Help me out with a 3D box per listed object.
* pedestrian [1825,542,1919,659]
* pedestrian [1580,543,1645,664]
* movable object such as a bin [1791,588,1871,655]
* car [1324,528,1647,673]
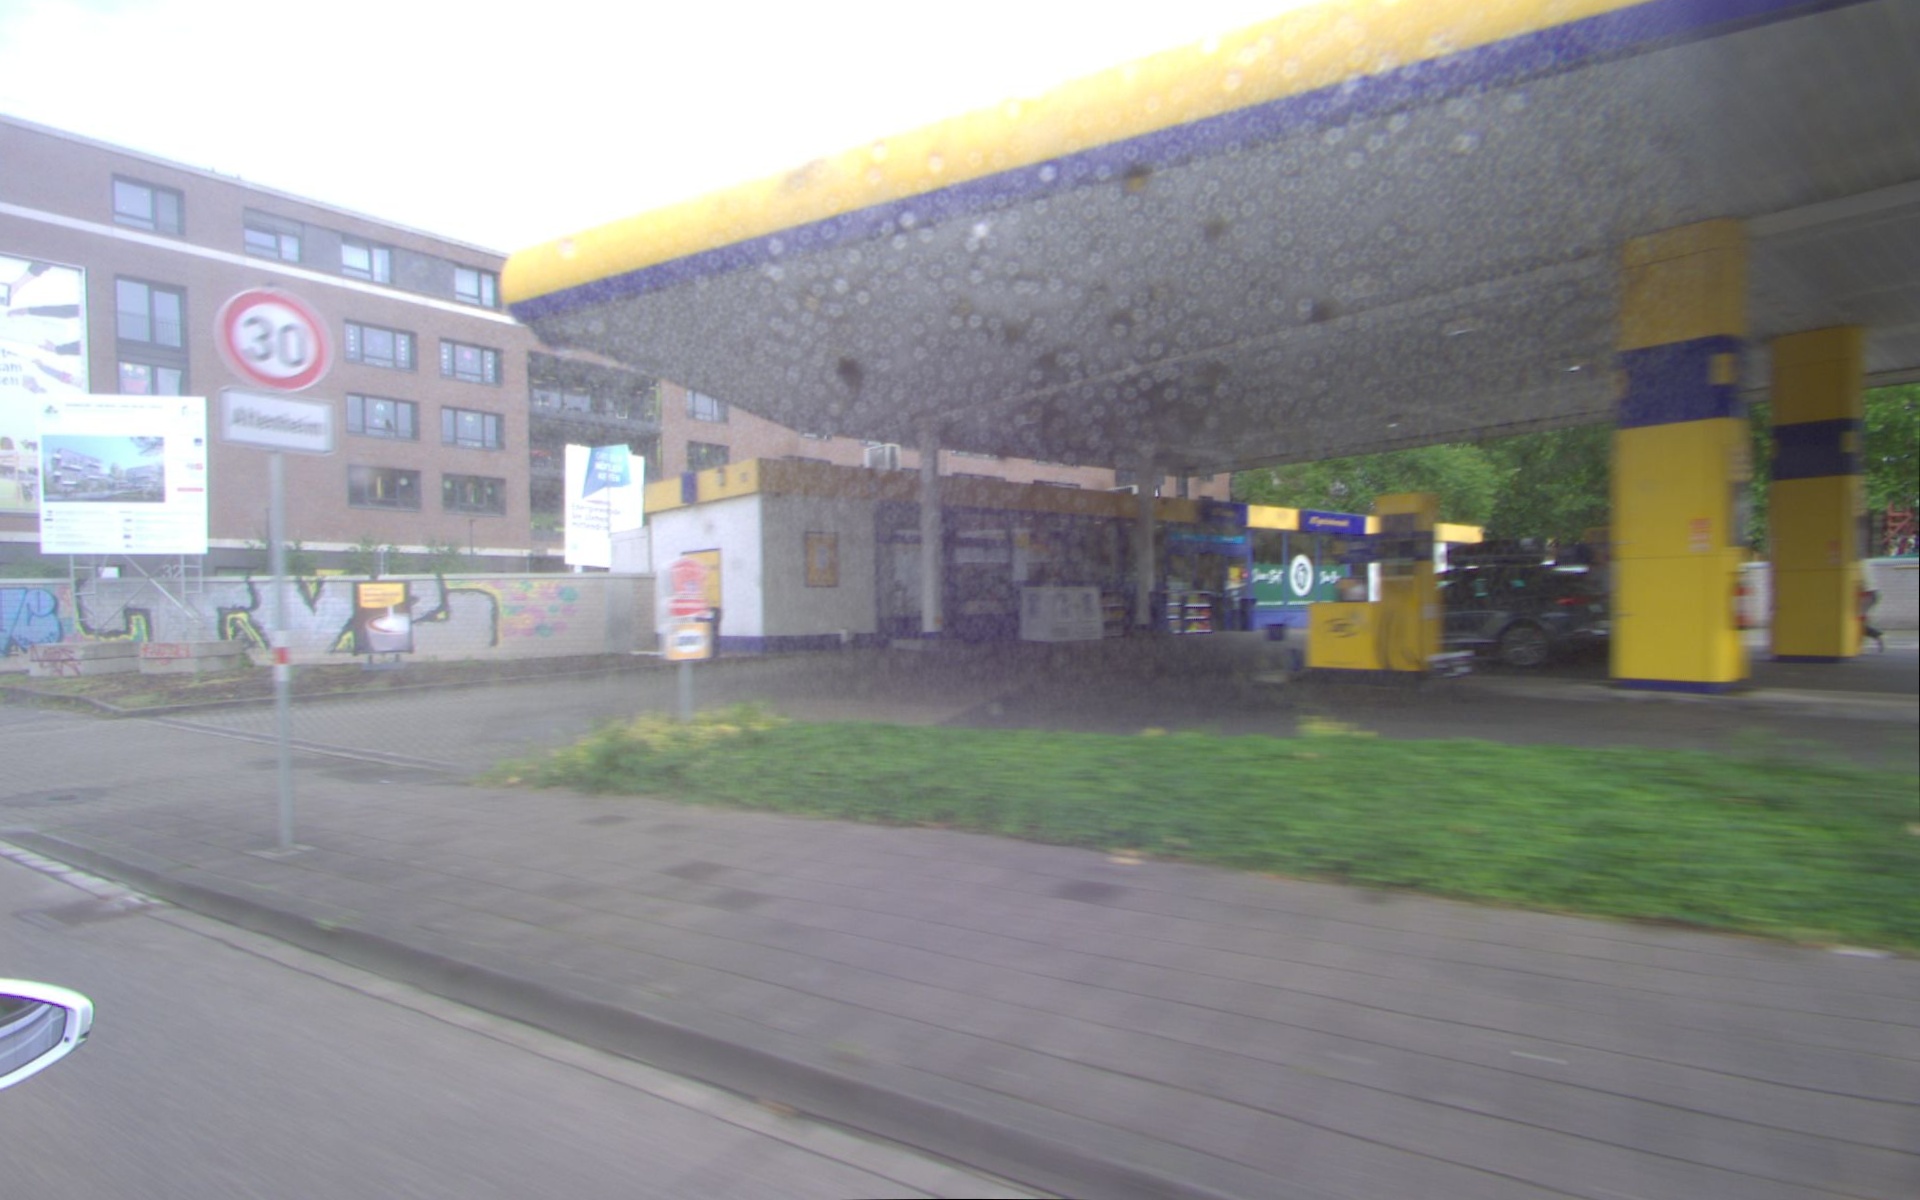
[{"bbox_3d":[14.940,-0.012,16.371,0.593,1.845,0.967,0,3,-16],"label":"pedestrian"},{"bbox_3d":[10.101,0.063,15.502,0.699,1.810,0.623,0,0,-36],"label":"pedestrian"},{"bbox_3d":[14.753,0.353,16.976,0.593,1.081,0.794,0,3,-16],"label":"movable object such as a bin"},{"bbox_3d":[8.273,0.025,16.060,1.805,2.014,4.216,-2,1,-41],"label":"car"}]
